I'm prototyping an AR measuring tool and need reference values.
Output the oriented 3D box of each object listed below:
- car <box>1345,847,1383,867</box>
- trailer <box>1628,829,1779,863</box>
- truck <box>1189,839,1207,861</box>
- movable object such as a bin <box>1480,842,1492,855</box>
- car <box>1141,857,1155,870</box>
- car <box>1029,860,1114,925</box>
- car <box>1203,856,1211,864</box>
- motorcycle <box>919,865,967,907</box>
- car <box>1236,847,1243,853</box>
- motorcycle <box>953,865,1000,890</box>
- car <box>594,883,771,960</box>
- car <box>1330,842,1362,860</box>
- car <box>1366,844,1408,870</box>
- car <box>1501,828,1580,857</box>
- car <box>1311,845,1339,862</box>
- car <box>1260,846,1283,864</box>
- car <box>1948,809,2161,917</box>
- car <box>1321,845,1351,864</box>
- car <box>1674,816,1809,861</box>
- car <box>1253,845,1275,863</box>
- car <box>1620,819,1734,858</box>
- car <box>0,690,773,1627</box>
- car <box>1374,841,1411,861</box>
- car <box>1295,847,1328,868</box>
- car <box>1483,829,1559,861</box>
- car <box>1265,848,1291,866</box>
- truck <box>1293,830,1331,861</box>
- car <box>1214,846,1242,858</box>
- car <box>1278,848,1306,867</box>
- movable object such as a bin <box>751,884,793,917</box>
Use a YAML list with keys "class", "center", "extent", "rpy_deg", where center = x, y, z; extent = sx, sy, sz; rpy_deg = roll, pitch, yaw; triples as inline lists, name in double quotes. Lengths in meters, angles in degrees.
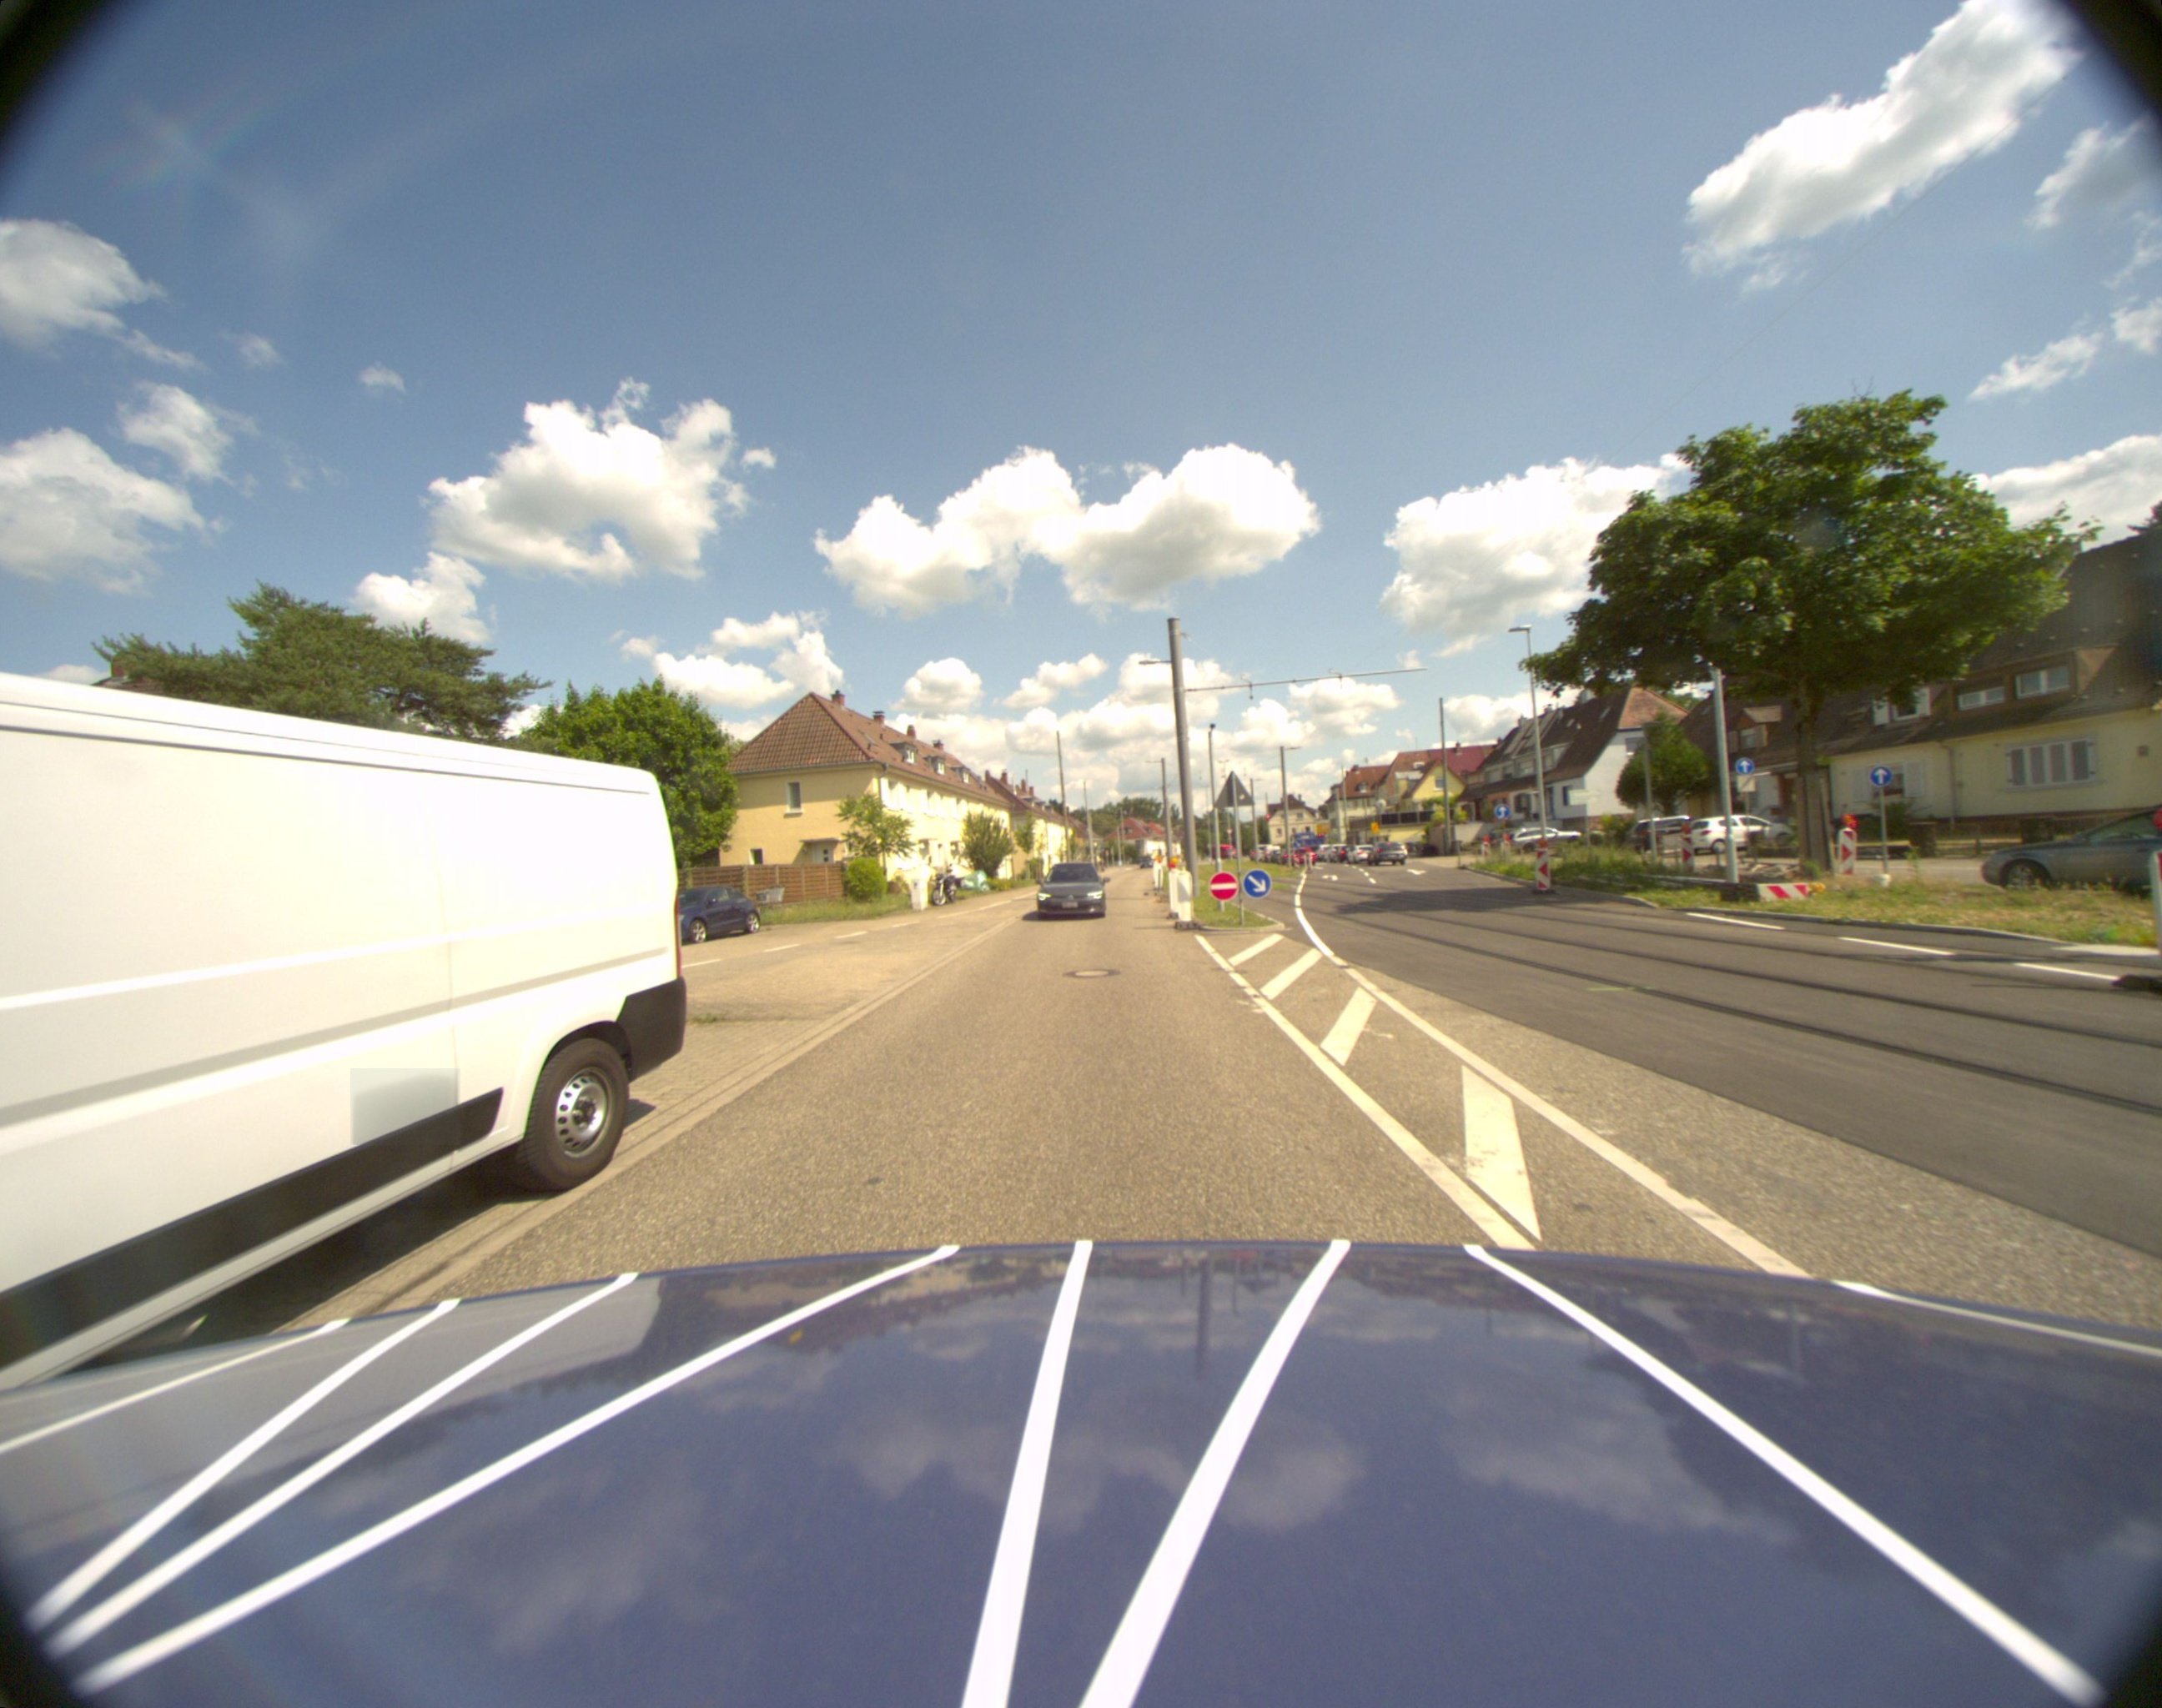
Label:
- class: "car"
  center: [21.177, 0.179, 56.988]
  extent: [1.728, 1.327, 4.545]
  rpy_deg: [-4, 0, 9]
- class: "trailer"
  center: [27.523, -0.344, 33.711]
  extent: [4.932, 1.118, 1.961]
  rpy_deg: [-4, 0, 3]
- class: "truck"
  center: [29.748, -1.023, 193.272]
  extent: [3.474, 5.153, 14.229]
  rpy_deg: [-4, 0, 11]
- class: "movable object such as a bin"
  center: [28.695, -0.388, 53.805]
  extent: [0.517, 0.947, 0.583]
  rpy_deg: [-4, 0, 5]
- class: "car"
  center: [9.487, 1.313, 107.590]
  extent: [1.879, 1.543, 4.987]
  rpy_deg: [-4, 0, 5]
- class: "car"
  center: [-0.140, 0.969, 21.100]
  extent: [1.742, 1.513, 4.704]
  rpy_deg: [-2, 0, 6]
- class: "car"
  center: [34.846, 1.520, 209.838]
  extent: [2.059, 1.996, 4.952]
  rpy_deg: [-3, 0, 11]
- class: "motorcycle"
  center: [-5.110, 1.163, 28.401]
  extent: [1.049, 1.461, 2.586]
  rpy_deg: [-1, 0, 6]
- class: "car"
  center: [48.325, -1.137, 231.615]
  extent: [1.720, 1.582, 4.175]
  rpy_deg: [-4, 0, 9]
- class: "motorcycle"
  center: [-5.497, 1.233, 39.945]
  extent: [2.232, 1.190, 0.855]
  rpy_deg: [-4, 0, 8]
- class: "car"
  center: [-9.579, 1.555, 18.712]
  extent: [1.643, 1.372, 4.290]
  rpy_deg: [-4, 0, 7]
- class: "car"
  center: [22.261, -0.258, 63.992]
  extent: [1.728, 1.327, 4.545]
  rpy_deg: [-4, 0, 9]
- class: "car"
  center: [20.109, 0.147, 50.065]
  extent: [1.728, 1.518, 4.774]
  rpy_deg: [-4, 0, 12]
- class: "car"
  center: [29.260, -0.715, 48.453]
  extent: [3.887, 1.546, 1.682]
  rpy_deg: [-4, 0, 3]
- class: "car"
  center: [24.643, -0.073, 76.859]
  extent: [1.729, 1.553, 4.544]
  rpy_deg: [-4, 0, 6]
- class: "car"
  center: [20.693, 0.130, 82.772]
  extent: [1.729, 1.843, 4.544]
  rpy_deg: [-4, 0, 6]
- class: "car"
  center: [15.728, 0.084, 10.686]
  extent: [1.696, 1.456, 4.756]
  rpy_deg: [-4, 0, 3]
- class: "car"
  center: [23.690, 0.031, 70.680]
  extent: [1.729, 1.553, 4.544]
  rpy_deg: [-4, 0, 7]
- class: "car"
  center: [27.054, -0.626, 31.215]
  extent: [3.960, 1.535, 1.761]
  rpy_deg: [-4, 0, -1]
- class: "car"
  center: [21.647, -0.039, 90.060]
  extent: [1.922, 1.953, 4.544]
  rpy_deg: [-4, 0, 6]
- class: "car"
  center: [28.202, -0.732, 36.070]
  extent: [3.891, 1.535, 1.707]
  rpy_deg: [-4, 0, 8]
- class: "car"
  center: [-3.641, 0.755, 2.515]
  extent: [2.282, 2.170, 6.369]
  rpy_deg: [-3, 0, 3]
- class: "car"
  center: [26.310, -0.240, 64.323]
  extent: [1.729, 1.553, 4.544]
  rpy_deg: [-4, 0, 7]
- class: "car"
  center: [18.682, 0.283, 61.785]
  extent: [1.729, 1.553, 4.544]
  rpy_deg: [-4, 0, 7]
- class: "car"
  center: [29.690, -0.600, 51.387]
  extent: [3.996, 1.835, 1.803]
  rpy_deg: [-4, 0, 3]
- class: "car"
  center: [19.678, 0.286, 76.062]
  extent: [1.729, 1.553, 4.544]
  rpy_deg: [-4, 0, 6]
- class: "truck"
  center: [25.804, -0.876, 85.206]
  extent: [2.841, 3.135, 7.939]
  rpy_deg: [-4, 0, 9]
- class: "car"
  center: [25.208, -0.315, 130.493]
  extent: [2.288, 1.861, 4.977]
  rpy_deg: [-4, 0, -21]
- class: "car"
  center: [19.069, 0.298, 68.809]
  extent: [1.729, 1.553, 4.647]
  rpy_deg: [-4, 0, 7]
- class: "movable object such as a bin"
  center: [-9.878, 1.469, 24.334]
  extent: [0.571, 0.930, 1.288]
  rpy_deg: [-4, 0, 10]
